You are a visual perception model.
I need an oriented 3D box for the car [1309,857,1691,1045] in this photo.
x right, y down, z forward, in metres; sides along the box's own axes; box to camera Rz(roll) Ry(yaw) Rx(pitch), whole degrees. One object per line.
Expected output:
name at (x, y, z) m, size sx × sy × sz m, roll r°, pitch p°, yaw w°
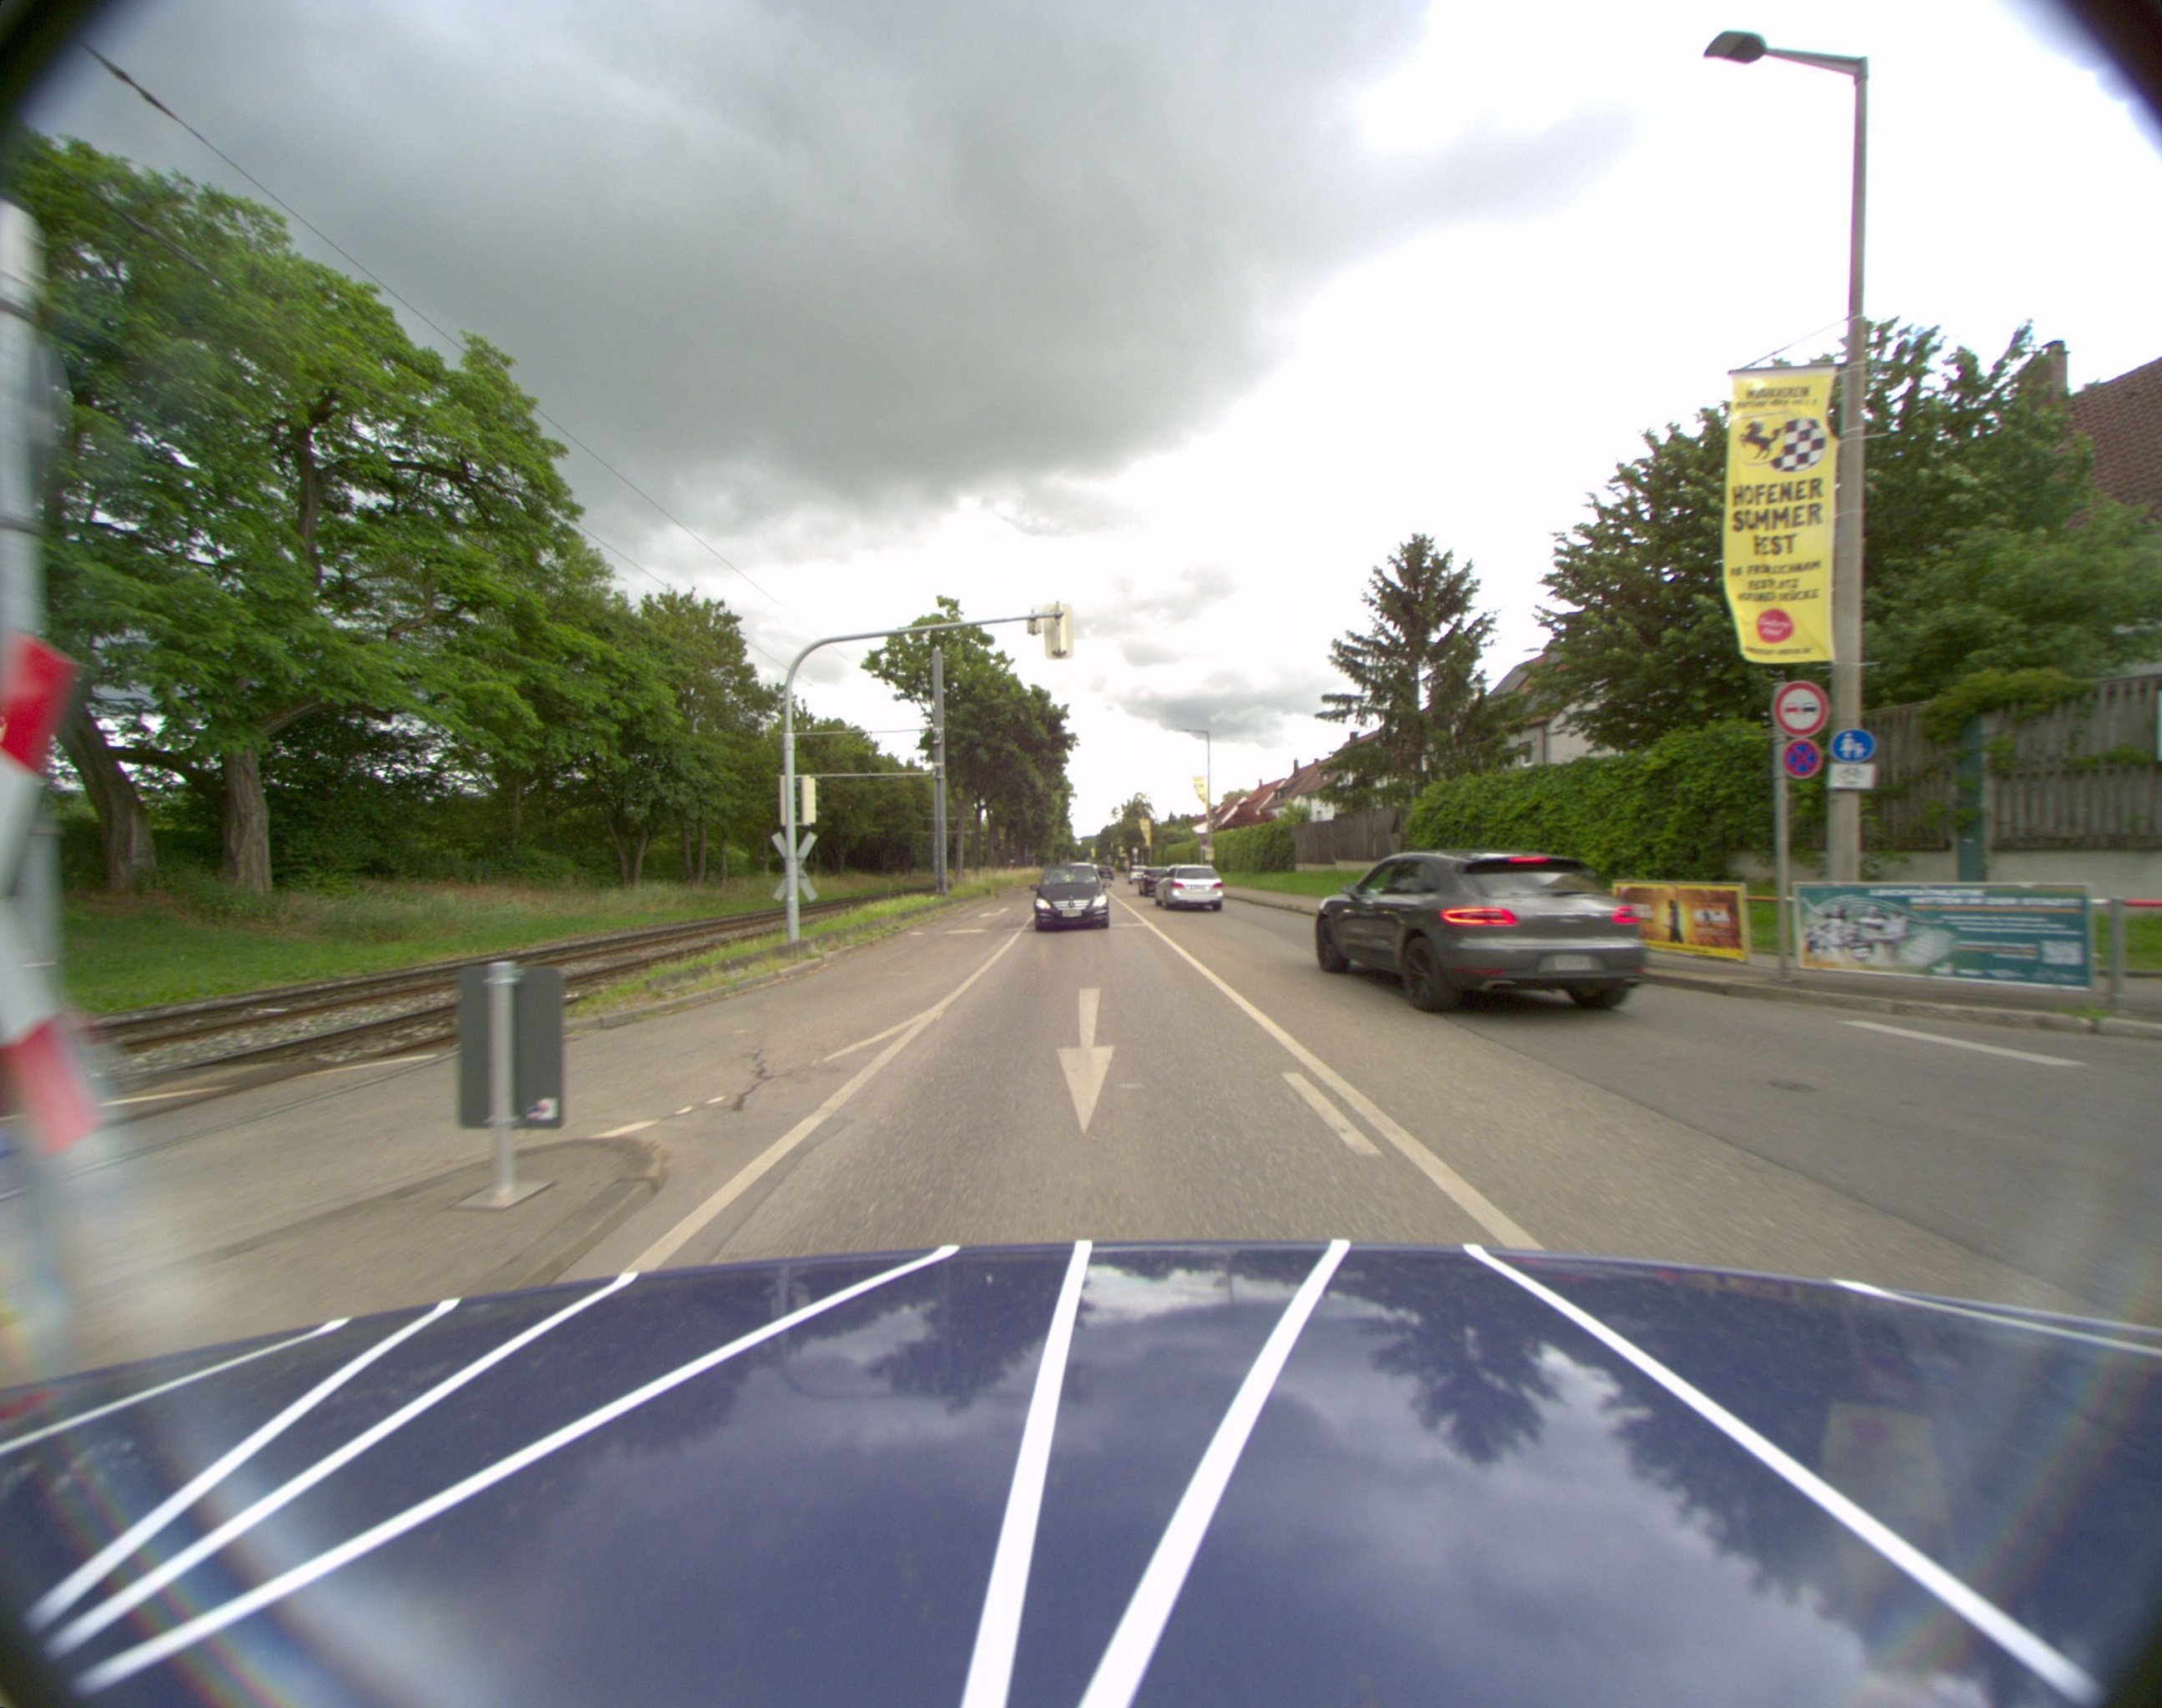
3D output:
car at (4.194, 0.842, 8.573) m, size 1.904 × 1.569 × 4.279 m, roll -1°, pitch -1°, yaw -1°

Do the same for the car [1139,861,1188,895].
car at (4.034, 1.154, 37.805) m, size 1.904 × 1.569 × 4.121 m, roll -1°, pitch -1°, yaw -1°

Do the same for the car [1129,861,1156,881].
car at (5.146, 1.427, 64.413) m, size 1.904 × 1.569 × 4.121 m, roll -1°, pitch -1°, yaw -1°

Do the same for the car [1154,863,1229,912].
car at (3.660, 1.068, 25.816) m, size 1.880 × 1.501 × 4.207 m, roll -1°, pitch -1°, yaw -1°

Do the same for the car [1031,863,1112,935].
car at (-0.238, 1.045, 19.296) m, size 1.749 × 1.558 × 4.121 m, roll -3°, pitch -1°, yaw -1°

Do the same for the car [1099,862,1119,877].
car at (3.069, 1.683, 83.544) m, size 1.904 × 1.569 × 4.121 m, roll -1°, pitch -1°, yaw -1°
